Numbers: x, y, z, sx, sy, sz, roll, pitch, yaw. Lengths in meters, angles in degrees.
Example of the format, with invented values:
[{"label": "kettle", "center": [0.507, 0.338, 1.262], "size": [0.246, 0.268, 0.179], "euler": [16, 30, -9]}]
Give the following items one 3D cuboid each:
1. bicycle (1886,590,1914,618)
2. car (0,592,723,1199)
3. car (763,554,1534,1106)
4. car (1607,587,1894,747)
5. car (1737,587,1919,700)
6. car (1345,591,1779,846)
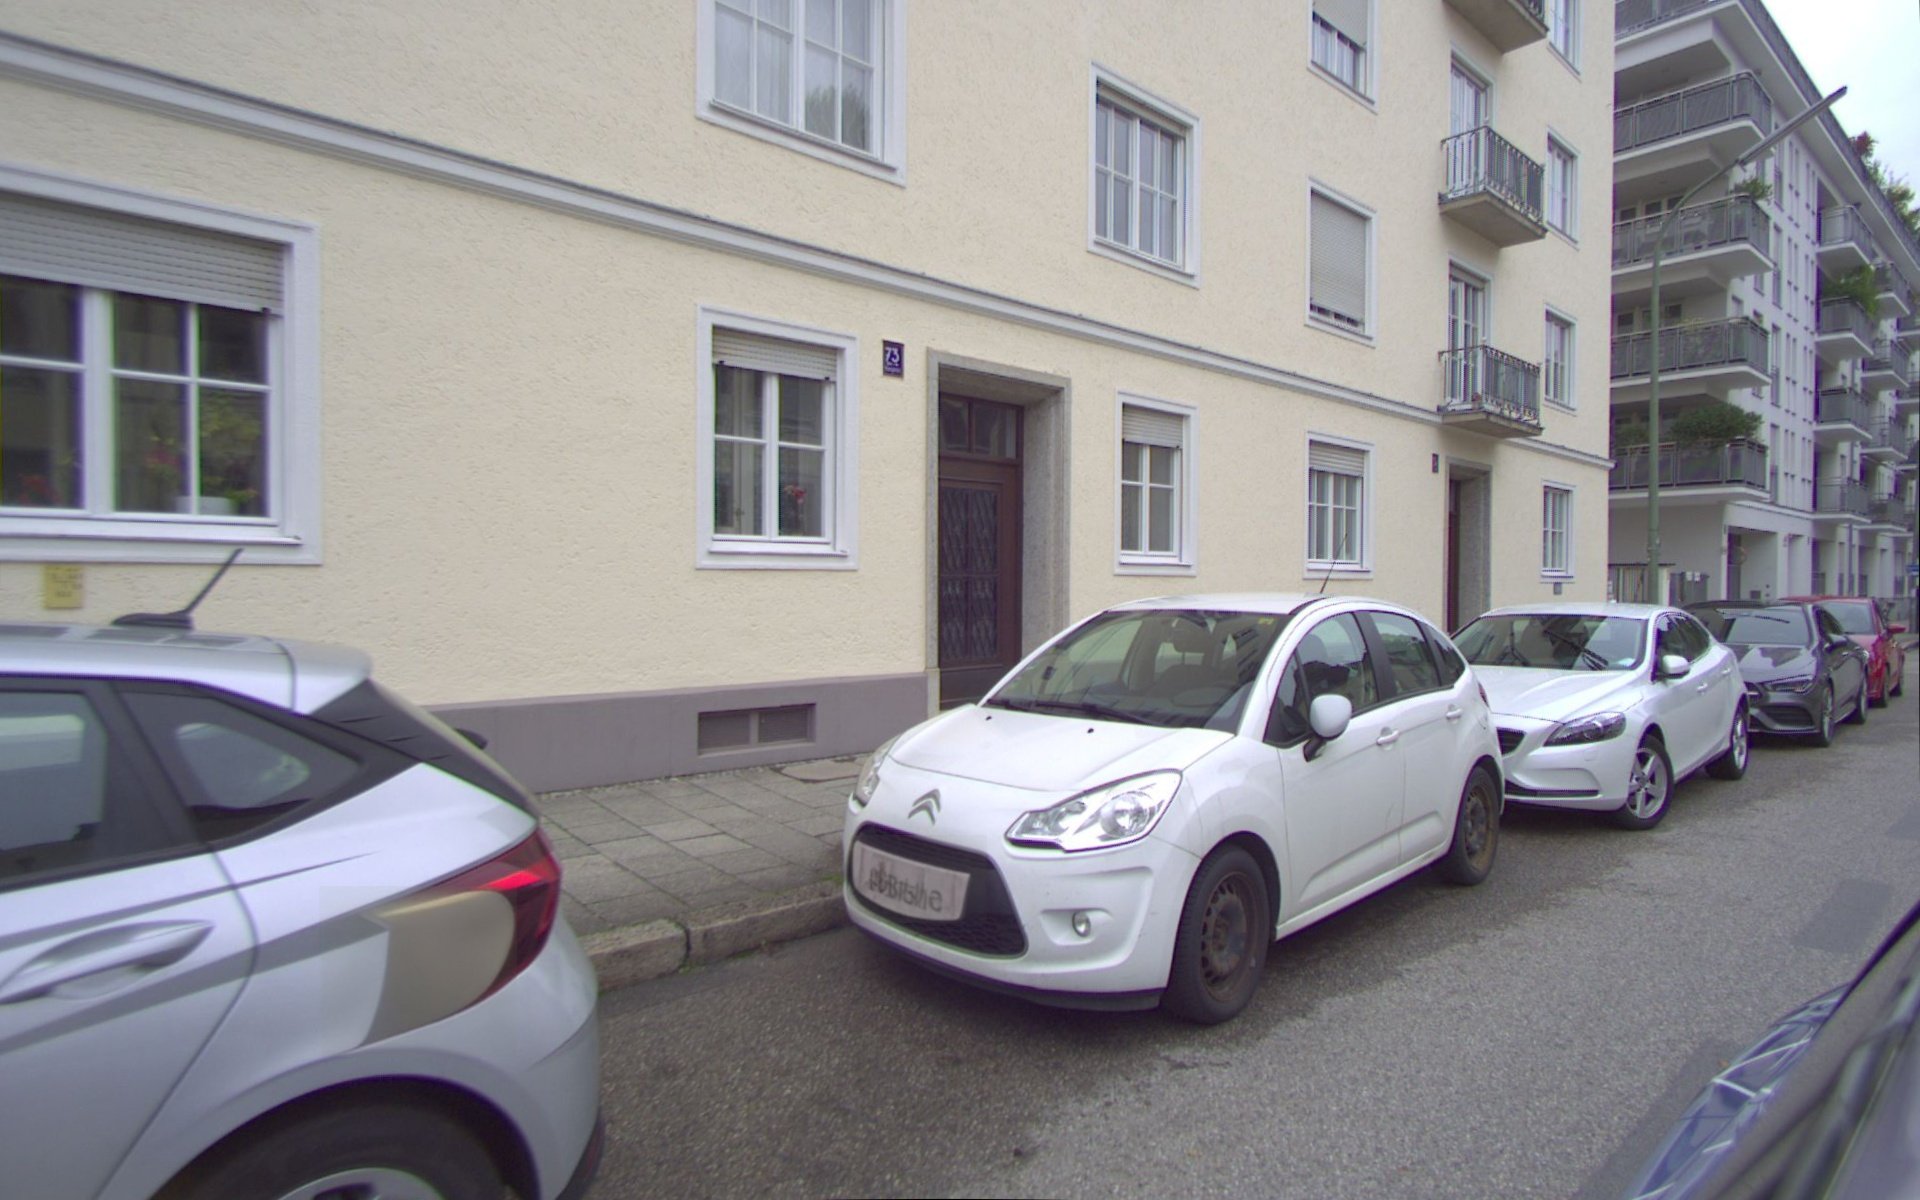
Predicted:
[{"label": "bicycle", "center": [38.468, 0.153, 41.409], "size": [1.778, 1.111, 0.570], "euler": [0, 4, -40]}, {"label": "car", "center": [-2.584, 0.725, 1.377], "size": [4.117, 1.468, 1.726], "euler": [0, 0, -43]}, {"label": "car", "center": [1.185, 0.645, 4.838], "size": [3.927, 1.563, 1.652], "euler": [0, 0, -44]}, {"label": "car", "center": [8.978, 0.602, 11.340], "size": [4.536, 1.448, 1.775], "euler": [0, 0, -42]}, {"label": "car", "center": [12.828, 0.556, 14.834], "size": [3.692, 1.448, 1.657], "euler": [0, 0, -42]}, {"label": "car", "center": [4.817, 0.668, 7.819], "size": [4.220, 1.448, 1.727], "euler": [0, 0, -42]}]
